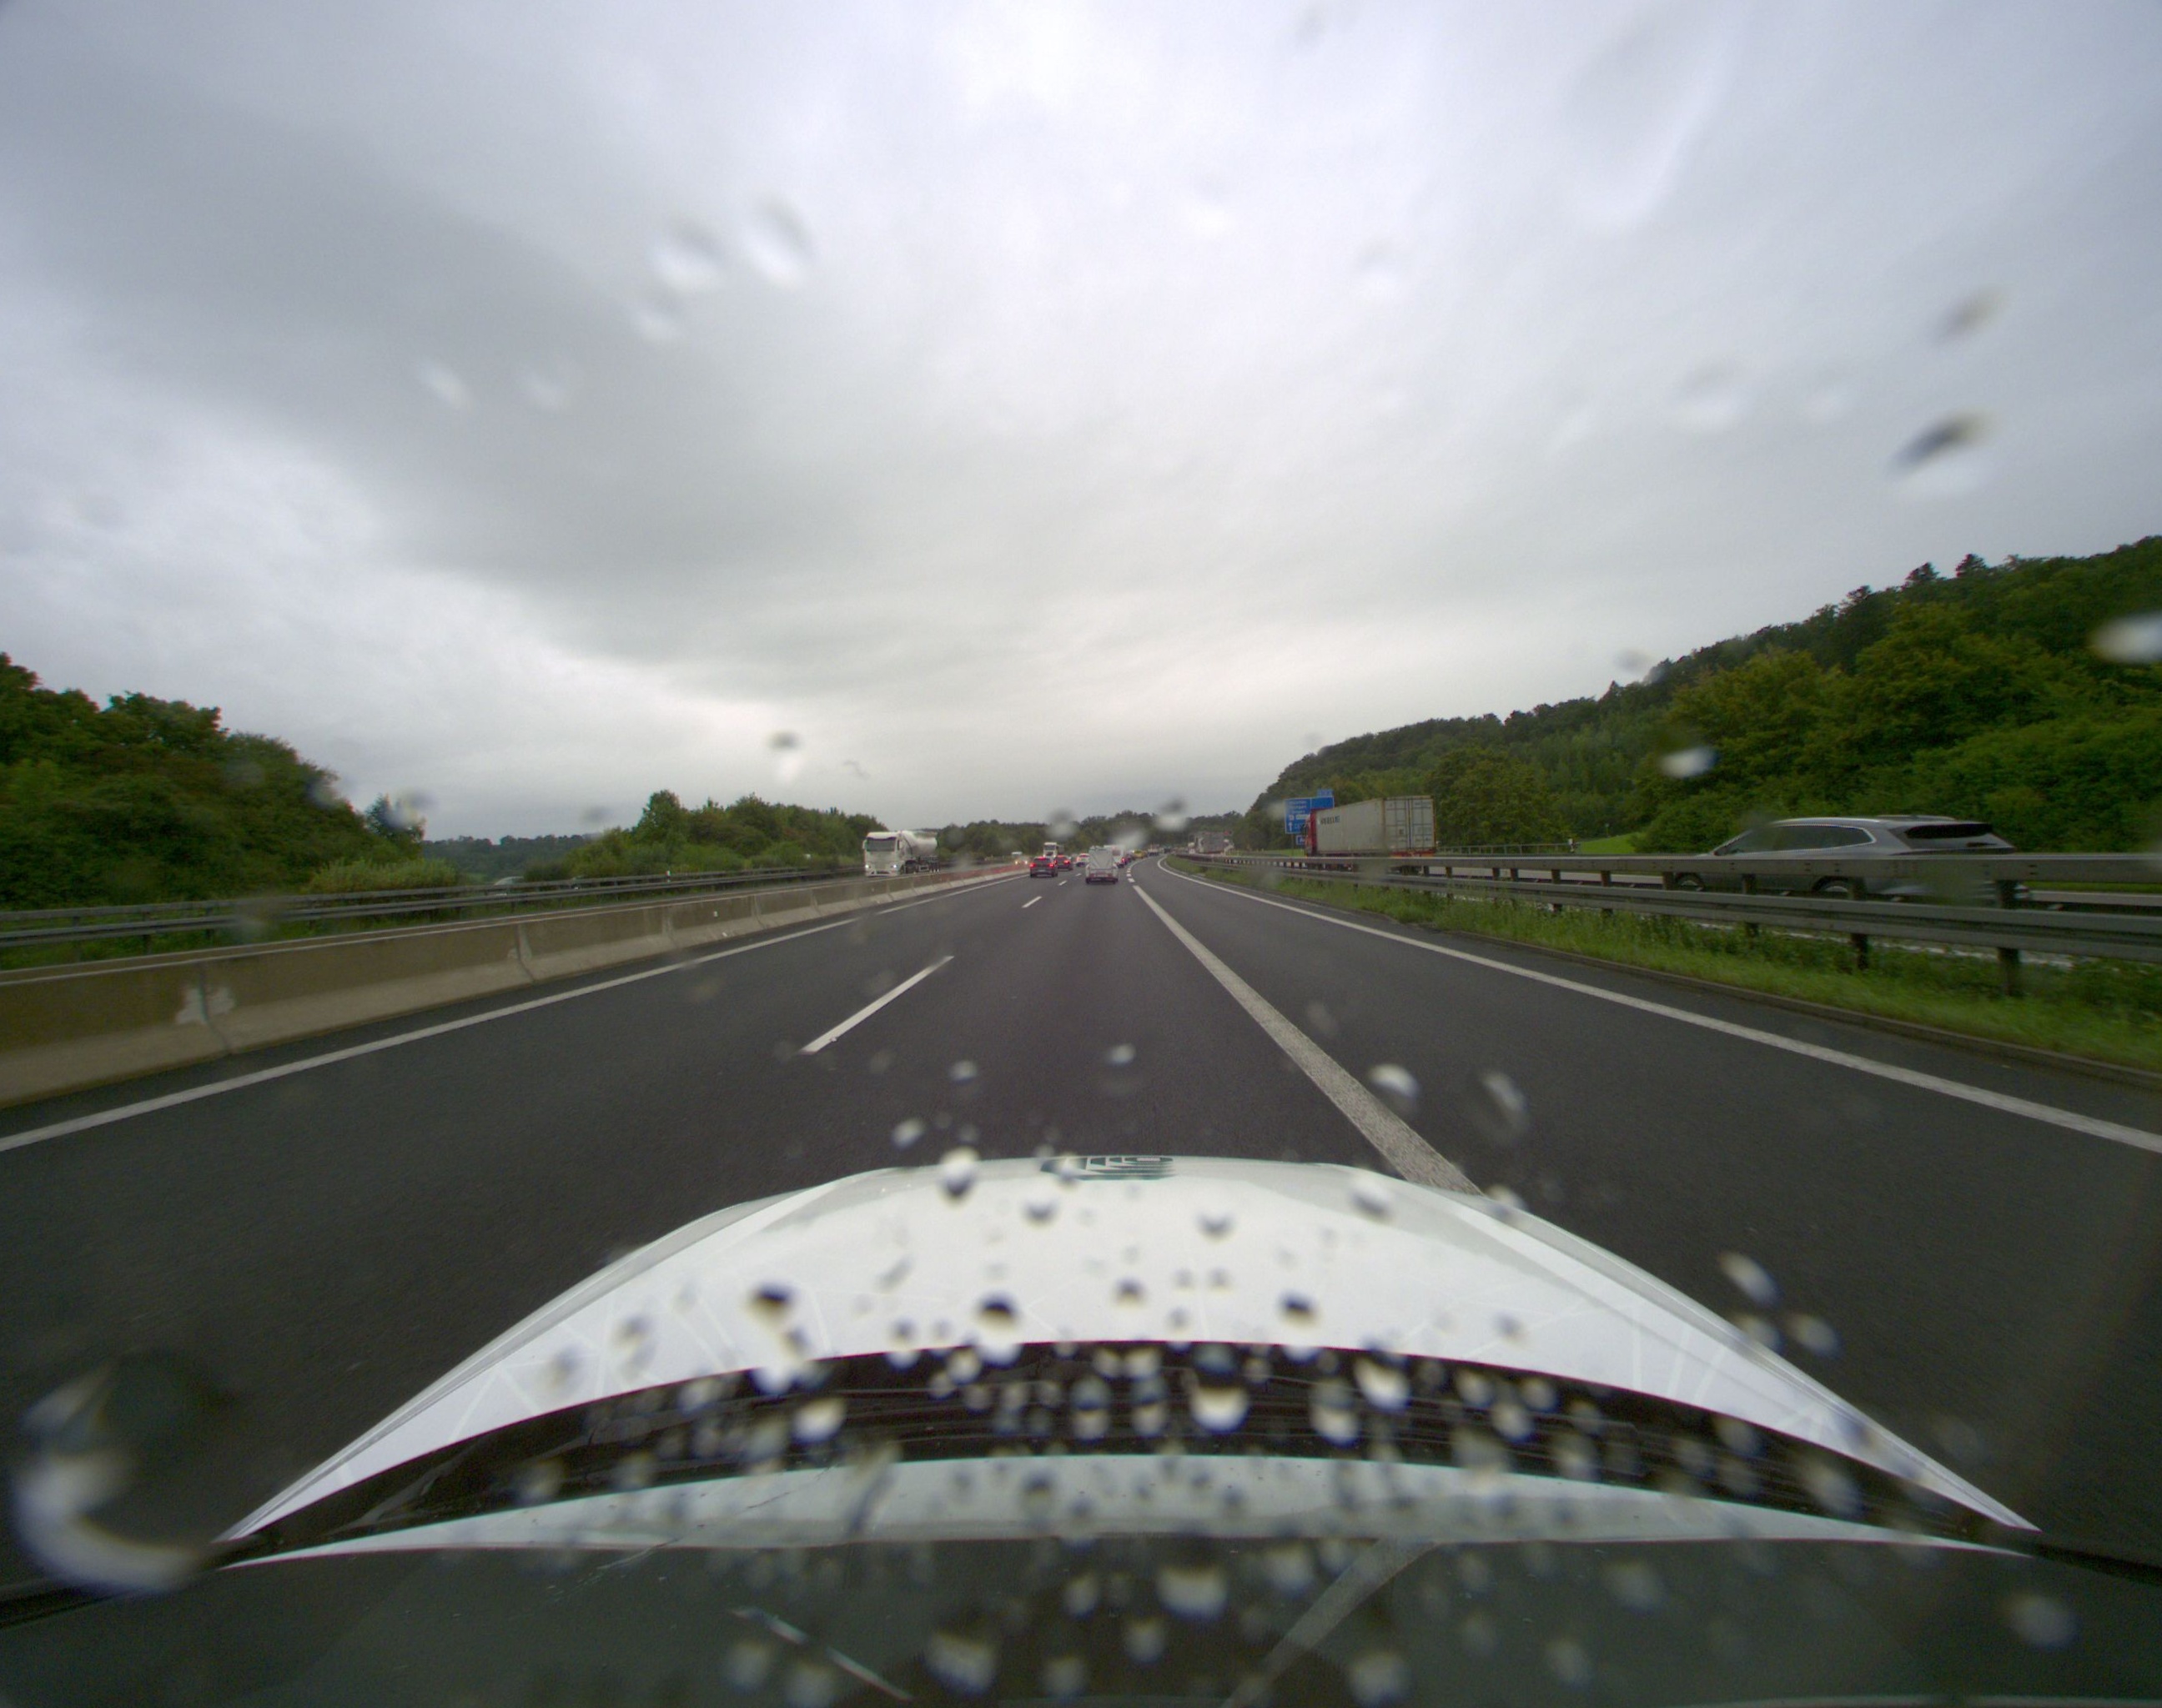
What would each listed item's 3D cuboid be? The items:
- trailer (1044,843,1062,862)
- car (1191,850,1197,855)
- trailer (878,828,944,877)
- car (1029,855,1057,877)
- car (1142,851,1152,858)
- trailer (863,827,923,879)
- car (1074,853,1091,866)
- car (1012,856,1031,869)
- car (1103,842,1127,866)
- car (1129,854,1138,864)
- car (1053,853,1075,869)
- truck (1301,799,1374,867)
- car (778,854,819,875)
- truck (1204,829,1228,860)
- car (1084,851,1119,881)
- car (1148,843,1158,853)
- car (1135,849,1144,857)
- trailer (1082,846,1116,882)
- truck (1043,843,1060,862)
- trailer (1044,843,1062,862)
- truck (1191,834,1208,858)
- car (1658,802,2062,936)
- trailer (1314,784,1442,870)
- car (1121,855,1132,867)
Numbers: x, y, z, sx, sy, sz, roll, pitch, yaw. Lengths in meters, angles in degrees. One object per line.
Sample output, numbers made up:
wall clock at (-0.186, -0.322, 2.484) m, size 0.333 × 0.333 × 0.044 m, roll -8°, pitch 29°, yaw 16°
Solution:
trailer at (-5.732, -0.292, 166.696) m, size 2.892 × 3.749 × 8.931 m, roll -1°, pitch 0°, yaw 2°
car at (32.689, -0.540, 236.036) m, size 1.666 × 1.456 × 4.010 m, roll -1°, pitch 0°, yaw 9°
trailer at (-14.095, -0.108, 68.473) m, size 2.625 × 3.736 × 10.819 m, roll -1°, pitch 0°, yaw 3°
car at (-2.636, 0.812, 57.848) m, size 1.670 × 1.456 × 4.001 m, roll -1°, pitch 0°, yaw 1°
car at (16.312, 0.112, 202.075) m, size 2.024 × 1.683 × 4.013 m, roll -1°, pitch 0°, yaw 12°
trailer at (-14.405, -0.054, 62.846) m, size 2.625 × 3.715 × 6.498 m, roll -1°, pitch 0°, yaw 4°
car at (0.204, 0.679, 102.687) m, size 1.767 × 1.640 × 4.049 m, roll -1°, pitch 0°, yaw 6°
car at (-7.847, 1.102, 108.255) m, size 1.799 × 1.580 × 4.362 m, roll -1°, pitch 0°, yaw 5°
car at (3.986, -0.014, 94.089) m, size 2.496 × 2.585 × 5.706 m, roll -1°, pitch 0°, yaw 4°
car at (9.968, 0.887, 155.302) m, size 1.668 × 1.812 × 4.004 m, roll -1°, pitch 0°, yaw 4°
car at (-1.640, 0.649, 78.756) m, size 1.757 × 1.456 × 4.004 m, roll -1°, pitch 0°, yaw 4°
truck at (15.659, -1.198, 50.171) m, size 2.606 × 3.884 × 6.395 m, roll -1°, pitch 0°, yaw 2°
car at (-28.126, 1.000, 81.295) m, size 1.866 × 2.014 × 5.303 m, roll -1°, pitch 0°, yaw 3°
truck at (21.612, -1.450, 131.152) m, size 3.198 × 4.666 × 13.057 m, roll -1°, pitch 0°, yaw 7°
car at (1.255, 0.664, 47.725) m, size 1.811 × 1.616 × 4.782 m, roll -1°, pitch 0°, yaw 3°
car at (20.497, -1.645, 231.897) m, size 2.503 × 2.574 × 5.321 m, roll -1°, pitch 0°, yaw 6°
car at (13.151, -0.155, 183.498) m, size 1.666 × 1.812 × 4.009 m, roll -1°, pitch 0°, yaw 8°
trailer at (1.037, 0.519, 44.221) m, size 1.668 × 1.812 × 4.003 m, roll -1°, pitch 0°, yaw 3°
truck at (-5.845, -0.314, 162.852) m, size 2.876 × 3.749 × 5.947 m, roll -1°, pitch 0°, yaw 2°
trailer at (-5.732, -0.292, 166.696) m, size 2.892 × 3.749 × 8.931 m, roll -1°, pitch 0°, yaw 2°
truck at (24.964, -1.617, 171.791) m, size 3.198 × 4.666 × 13.057 m, roll -1°, pitch 0°, yaw 7°
car at (11.230, 0.195, 12.346) m, size 1.763 × 1.610 × 4.645 m, roll -1°, pitch 0°, yaw 2°
trailer at (15.398, -1.197, 43.569) m, size 2.594 × 3.894 × 12.496 m, roll -1°, pitch 0°, yaw 2°
car at (7.548, 1.157, 134.575) m, size 1.668 × 1.812 × 4.004 m, roll -1°, pitch 0°, yaw 4°
